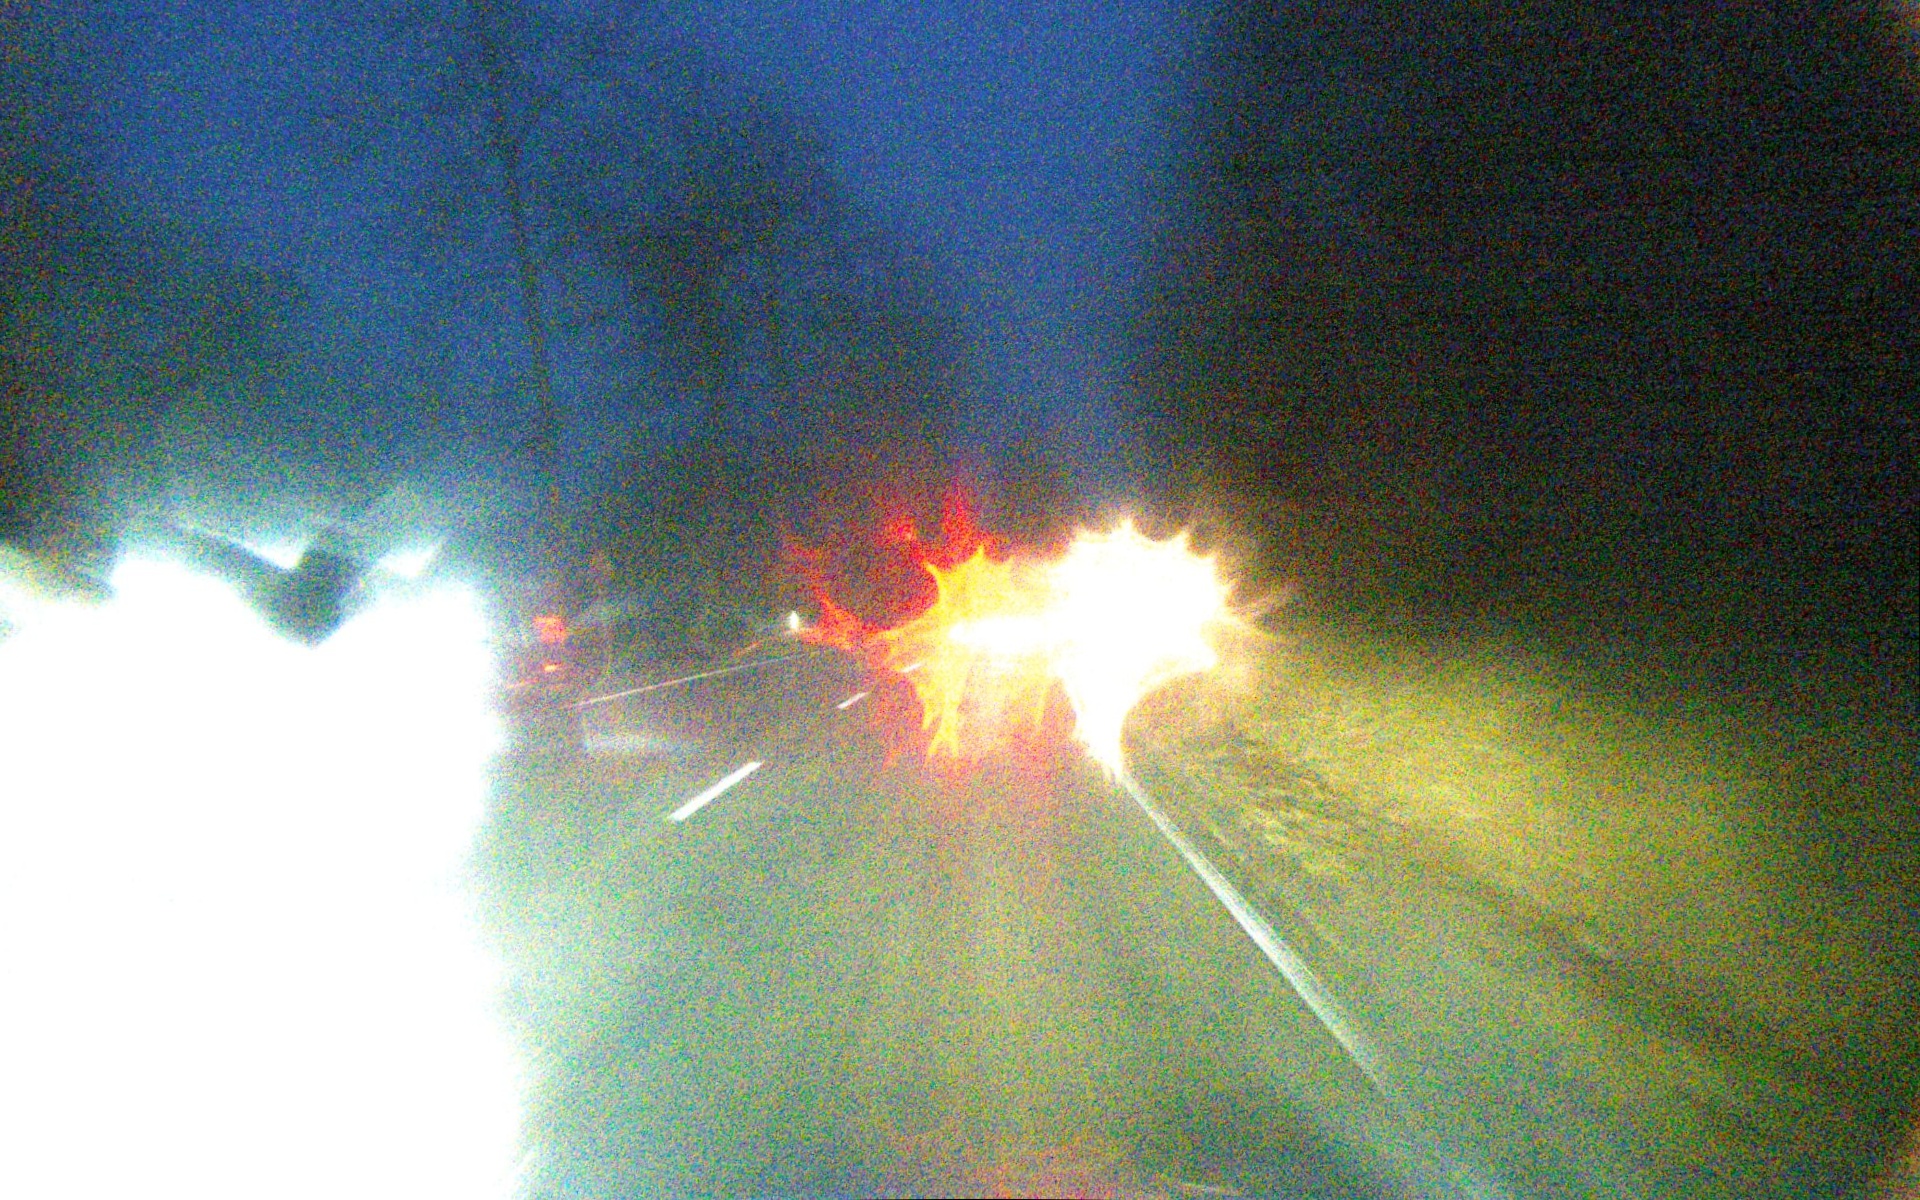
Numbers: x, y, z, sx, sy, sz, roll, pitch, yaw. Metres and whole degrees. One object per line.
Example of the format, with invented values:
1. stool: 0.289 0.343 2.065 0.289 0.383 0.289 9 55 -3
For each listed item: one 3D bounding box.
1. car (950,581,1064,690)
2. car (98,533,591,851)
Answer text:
1. car: 0.921 0.610 31.266 1.952 1.838 3.919 -2 1 3
2. car: -3.829 0.484 11.091 1.804 1.750 3.960 0 1 0
